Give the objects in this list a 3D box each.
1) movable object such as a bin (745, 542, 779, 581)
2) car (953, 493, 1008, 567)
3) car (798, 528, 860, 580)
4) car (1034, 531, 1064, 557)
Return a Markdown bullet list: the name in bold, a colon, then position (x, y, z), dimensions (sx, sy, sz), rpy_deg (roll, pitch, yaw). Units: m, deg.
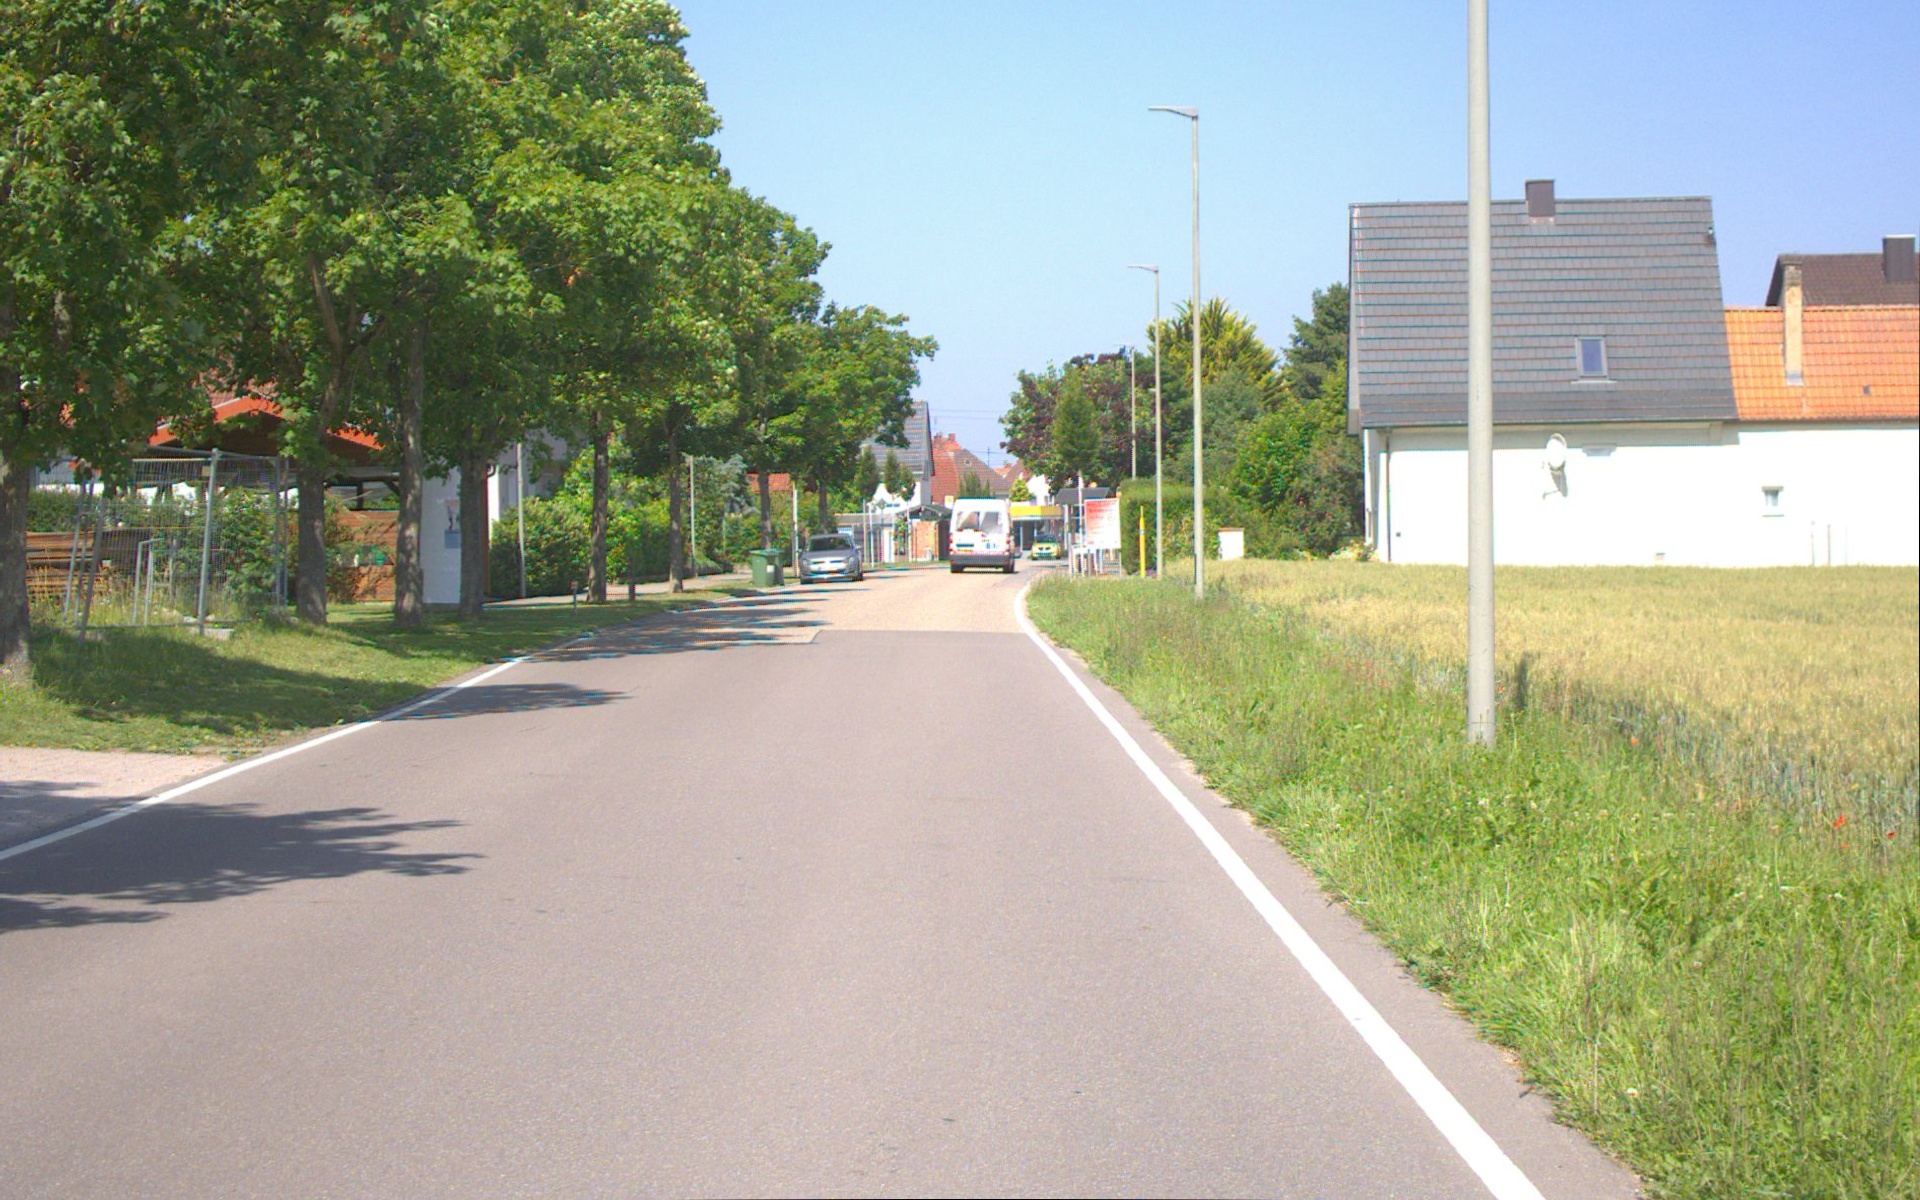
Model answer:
- **movable object such as a bin**: position (-5.591, -1.092, 96.955), dimensions (0.714, 1.075, 0.639), rpy_deg (-1, 1, 27)
- **car**: position (0.713, -2.346, 115.387), dimensions (1.738, 2.424, 4.374), rpy_deg (-1, 1, 1)
- **car**: position (-3.877, -1.384, 102.318), dimensions (1.647, 1.419, 4.080), rpy_deg (-3, 1, 0)
- **car**: position (5.448, -3.442, 211.177), dimensions (1.666, 1.519, 3.443), rpy_deg (-2, 1, -1)
